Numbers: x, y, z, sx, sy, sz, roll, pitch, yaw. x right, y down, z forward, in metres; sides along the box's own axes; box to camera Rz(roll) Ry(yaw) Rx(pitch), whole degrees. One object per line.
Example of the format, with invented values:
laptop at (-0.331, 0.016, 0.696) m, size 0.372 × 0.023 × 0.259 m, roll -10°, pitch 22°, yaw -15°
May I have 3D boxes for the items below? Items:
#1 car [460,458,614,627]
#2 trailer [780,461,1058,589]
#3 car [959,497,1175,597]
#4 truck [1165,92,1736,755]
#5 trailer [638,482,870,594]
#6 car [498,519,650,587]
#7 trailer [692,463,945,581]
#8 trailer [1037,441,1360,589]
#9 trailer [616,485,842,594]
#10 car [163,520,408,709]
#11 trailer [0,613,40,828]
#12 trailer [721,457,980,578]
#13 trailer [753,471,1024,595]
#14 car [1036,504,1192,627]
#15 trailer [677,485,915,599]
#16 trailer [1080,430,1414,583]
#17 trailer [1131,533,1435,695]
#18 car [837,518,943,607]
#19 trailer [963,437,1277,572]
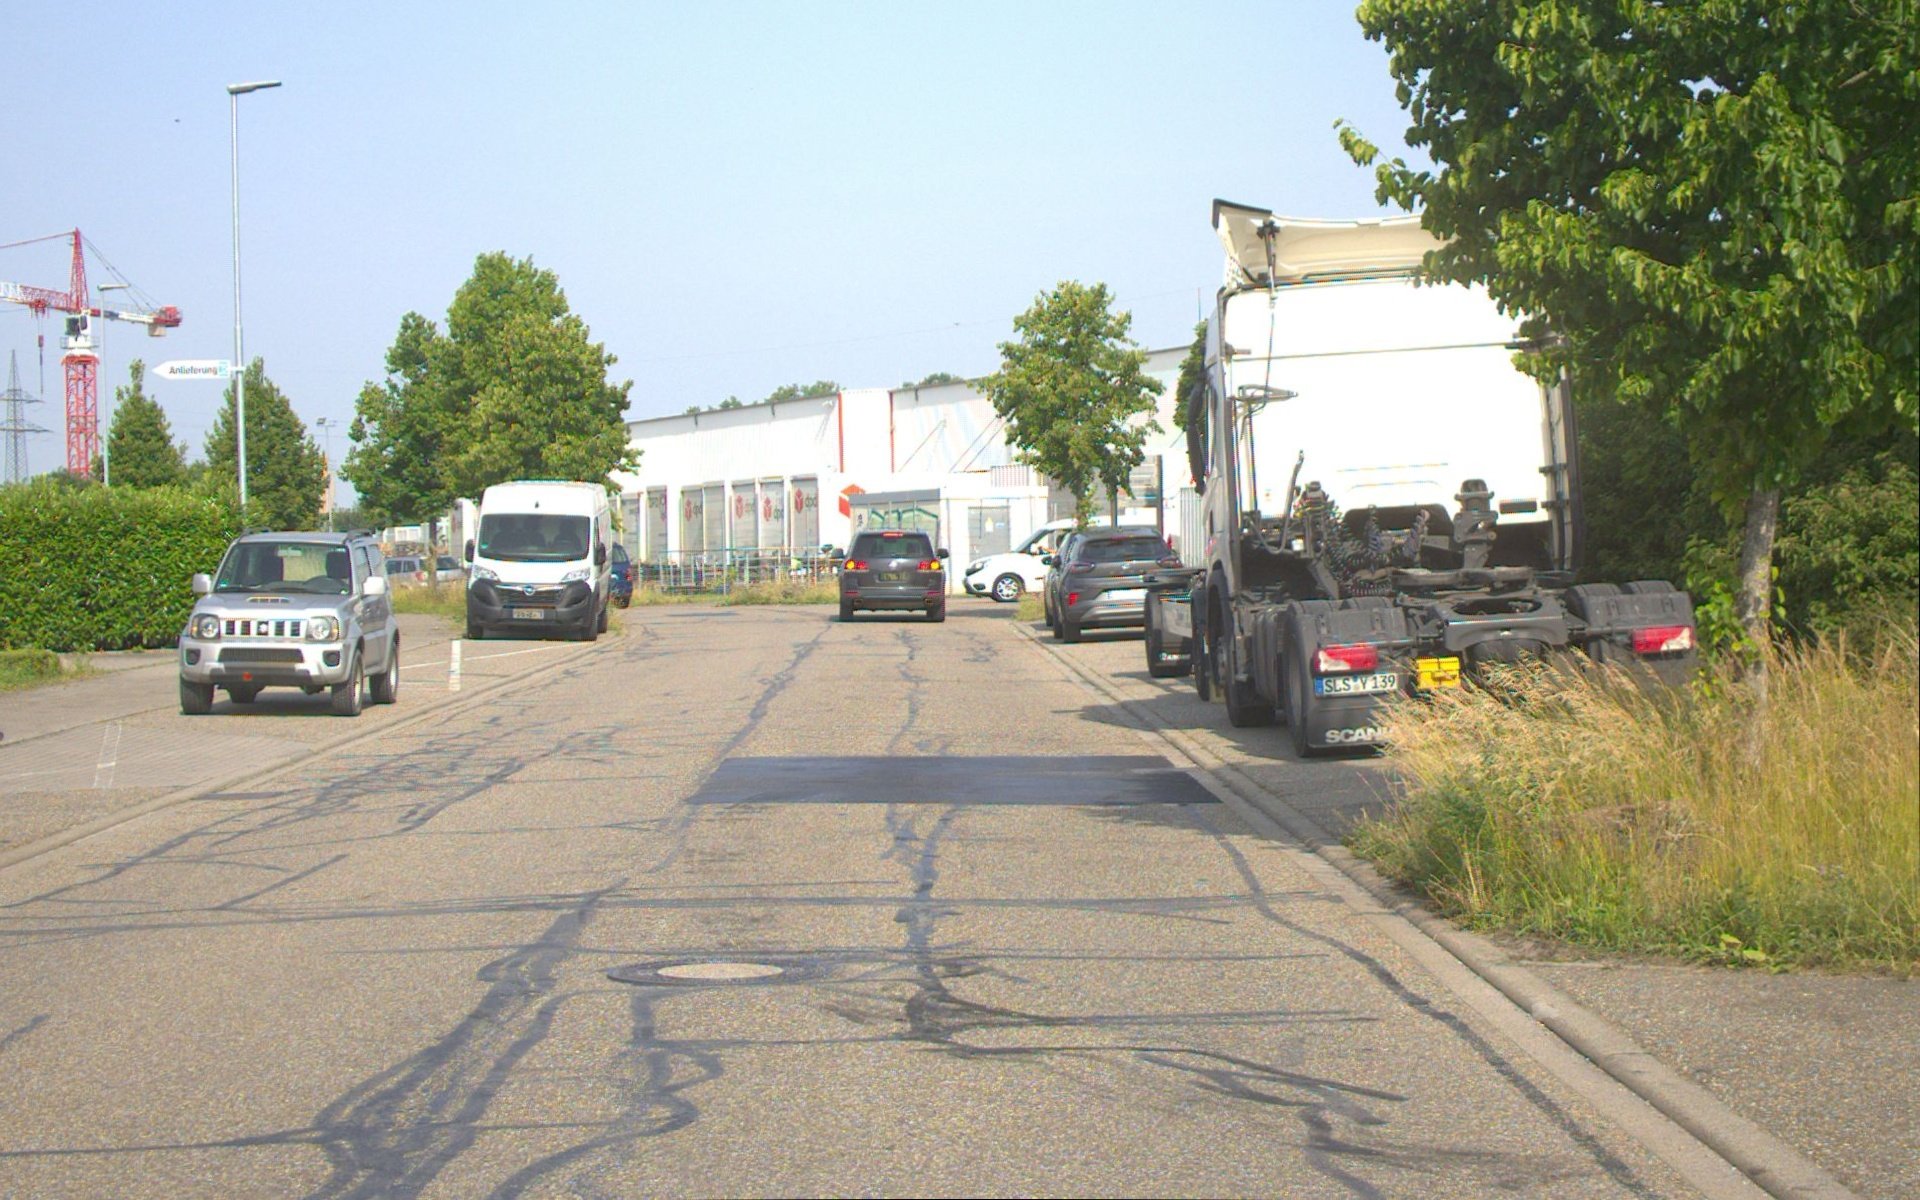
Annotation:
car at (-6.921, -0.952, 56.867) m, size 2.102 × 2.586 × 6.505 m, roll 2°, pitch 1°, yaw -4°
trailer at (-1.320, -2.404, 111.496) m, size 8.534 × 3.880 × 2.776 m, roll 1°, pitch 1°, yaw -24°
car at (2.349, -1.179, 76.339) m, size 4.609 × 2.103 × 2.128 m, roll -1°, pitch 0°, yaw -3°
truck at (3.220, -1.149, 24.281) m, size 2.691 × 3.950 × 6.049 m, roll -3°, pitch 1°, yaw -3°
trailer at (-7.573, -2.258, 126.478) m, size 7.960 × 3.880 × 2.776 m, roll 1°, pitch 1°, yaw -24°
car at (-9.412, -1.137, 83.613) m, size 1.969 × 1.568 × 4.113 m, roll -1°, pitch 0°, yaw -34°
trailer at (-4.917, -2.700, 120.052) m, size 8.305 × 3.880 × 2.776 m, roll 1°, pitch 1°, yaw -24°
trailer at (6.638, -2.366, 95.562) m, size 8.534 × 3.880 × 2.776 m, roll -2°, pitch 1°, yaw -23°
trailer at (-8.680, -2.253, 129.293) m, size 7.960 × 3.880 × 2.776 m, roll 1°, pitch 1°, yaw -24°
car at (-6.236, 0.084, 32.123) m, size 1.597 × 1.645 × 3.644 m, roll -1°, pitch 1°, yaw -1°
trailer at (-6.080, 0.709, 13.389) m, size 2.546 × 1.070 × 9.732 m, roll 0°, pitch 1°, yaw -1°
trailer at (-3.711, -2.783, 117.232) m, size 8.305 × 3.880 × 2.776 m, roll 1°, pitch 1°, yaw -24°
trailer at (-2.366, -2.209, 114.554) m, size 8.534 × 3.880 × 2.776 m, roll 1°, pitch 1°, yaw -24°
car at (2.107, -0.477, 48.140) m, size 1.880 × 1.568 × 4.113 m, roll -2°, pitch 0°, yaw -1°
trailer at (-5.908, -2.080, 123.958) m, size 8.031 × 3.880 × 2.776 m, roll 1°, pitch 1°, yaw -24°
trailer at (7.739, -2.508, 92.636) m, size 8.534 × 3.881 × 2.776 m, roll -1°, pitch -2°, yaw -22°
trailer at (2.823, 0.042, 31.830) m, size 1.938 × 1.231 × 7.452 m, roll -3°, pitch 1°, yaw -1°
car at (-1.276, -0.674, 62.924) m, size 1.880 × 1.581 × 4.113 m, roll 0°, pitch 0°, yaw -1°
trailer at (4.647, -2.718, 99.477) m, size 8.730 × 3.748 × 2.791 m, roll 0°, pitch 0°, yaw -24°
